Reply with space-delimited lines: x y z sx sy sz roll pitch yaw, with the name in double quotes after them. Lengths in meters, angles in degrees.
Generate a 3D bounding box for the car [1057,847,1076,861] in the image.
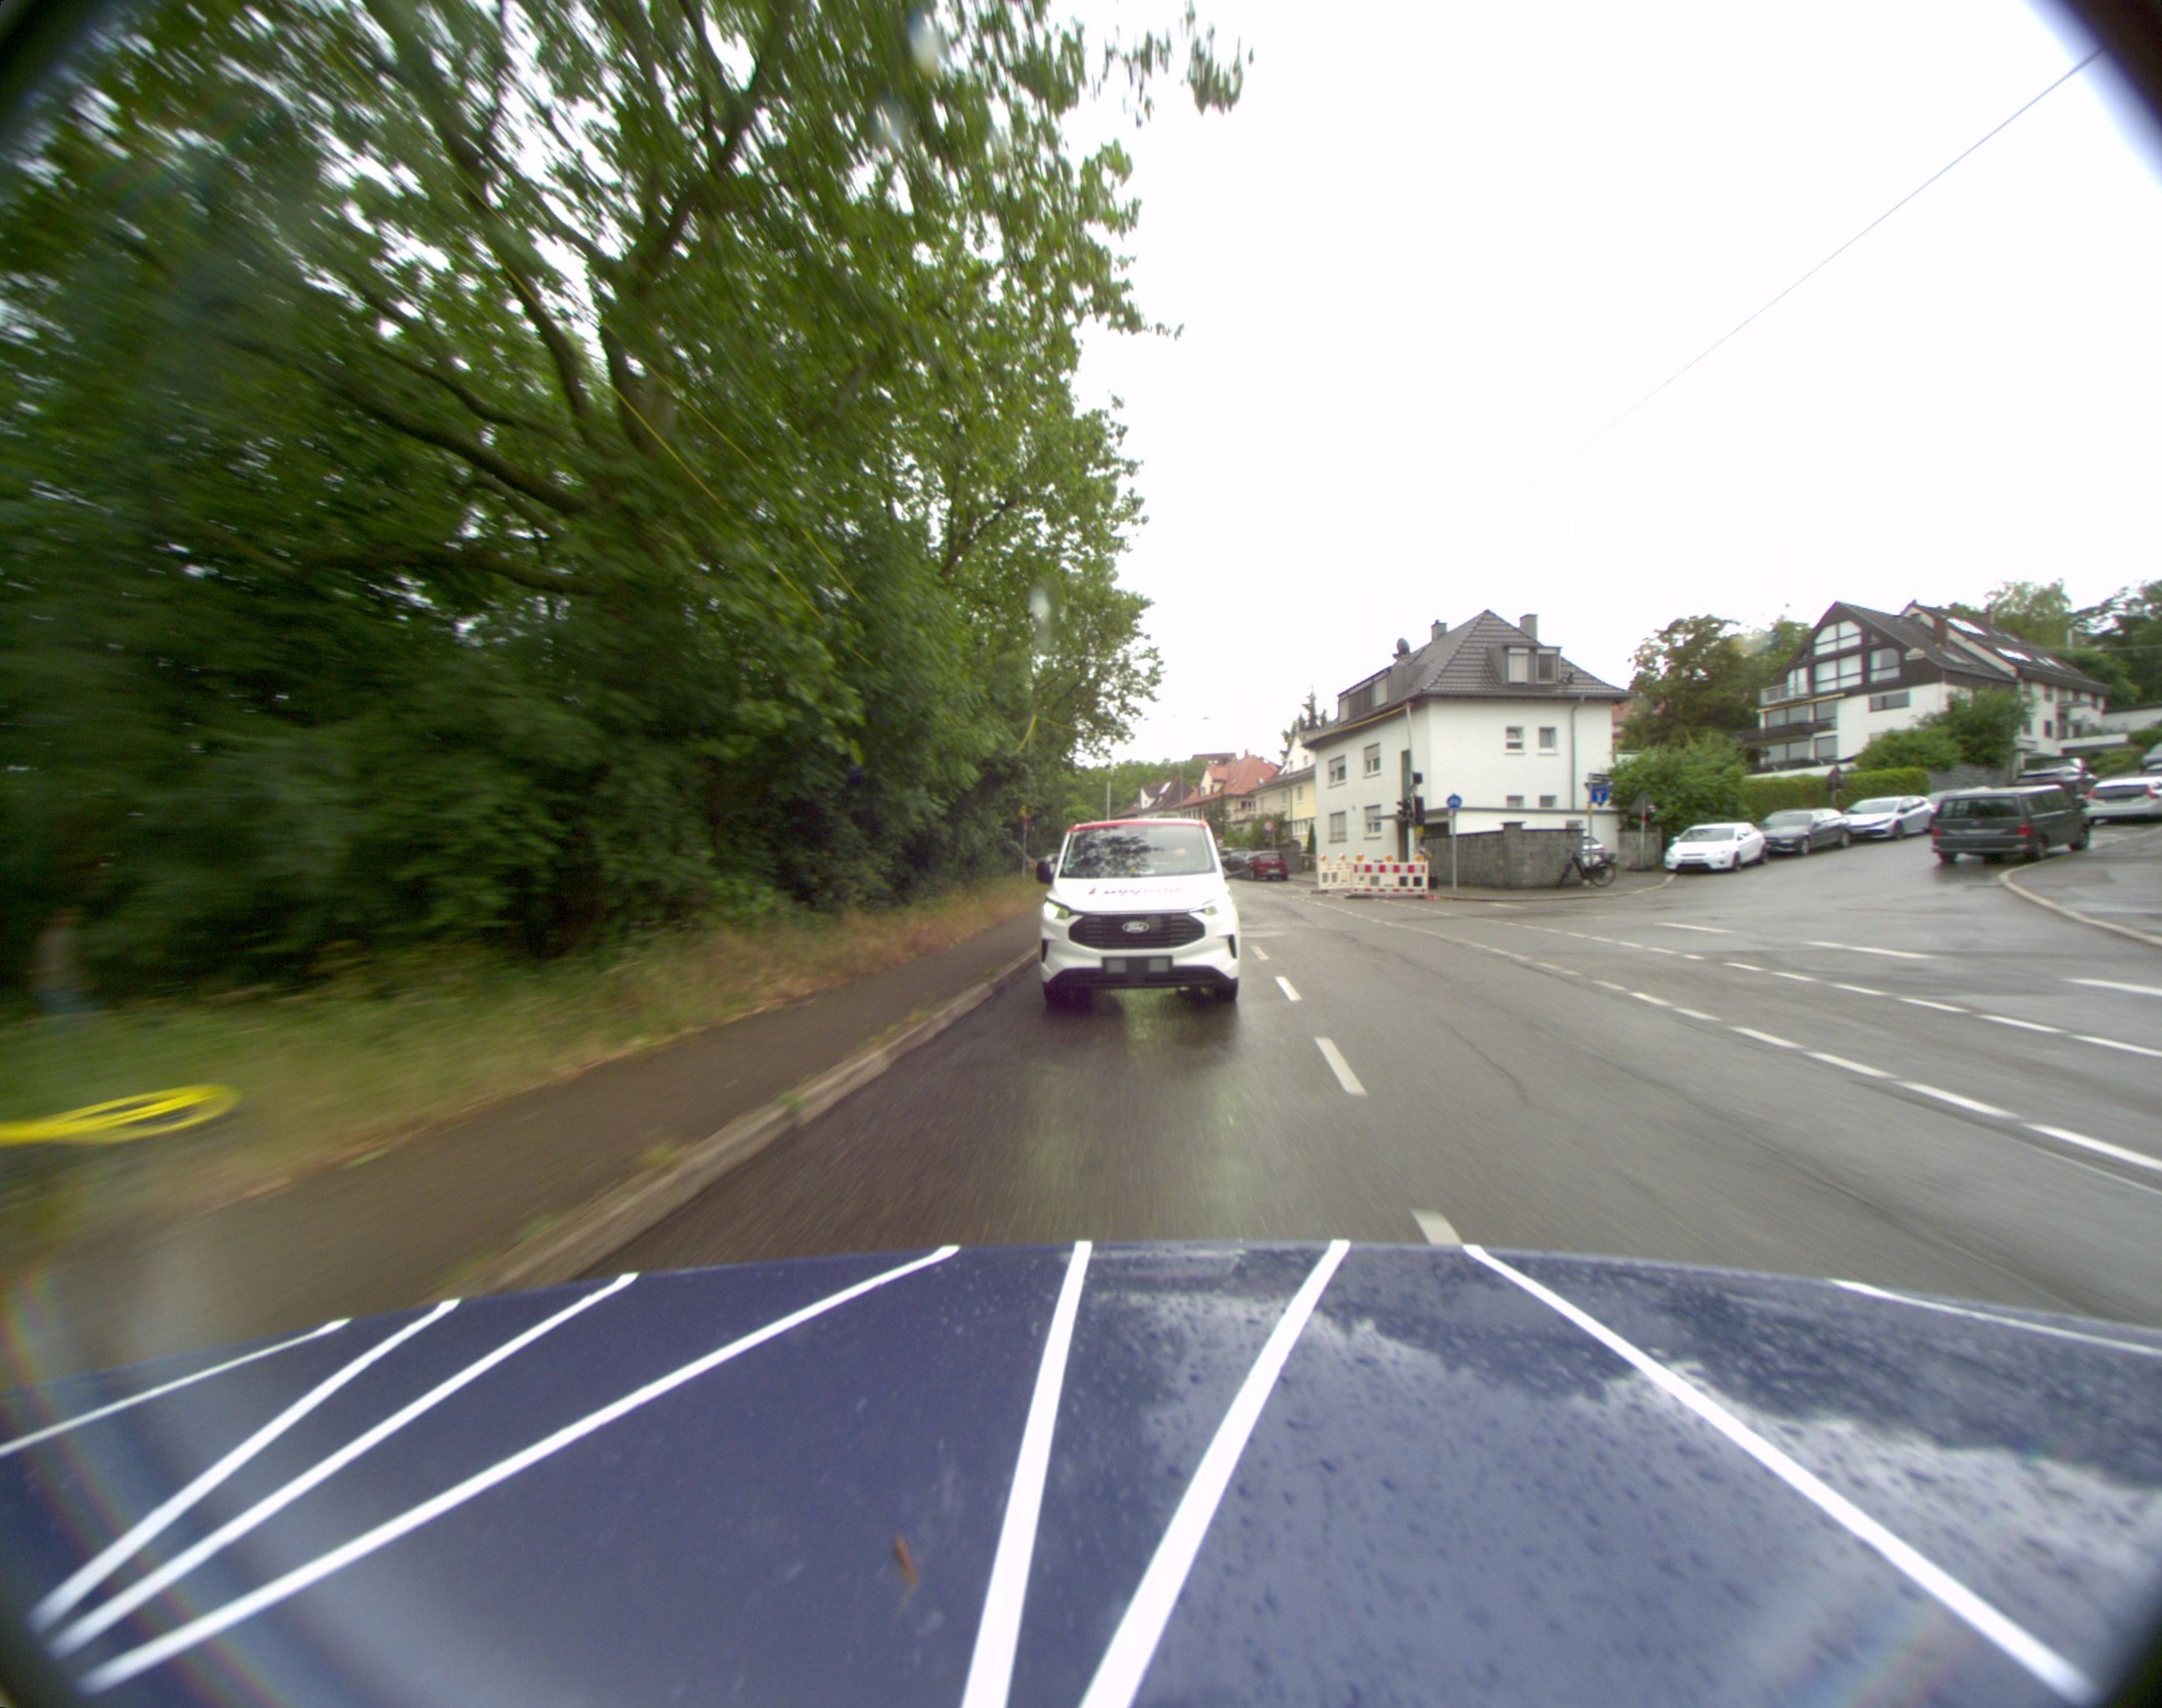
-2.058 -0.038 104.246 2.000 1.850 4.356 -3 1 -9 "car"

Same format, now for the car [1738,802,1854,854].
25.897 -0.939 27.515 3.858 1.458 1.701 -7 2 -25 "car"

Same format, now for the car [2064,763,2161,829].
36.246 -2.044 26.294 3.415 1.827 1.918 -9 3 -24 "car"

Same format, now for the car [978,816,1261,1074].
0.644 0.656 8.268 2.044 1.883 5.211 -2 1 8 "car"

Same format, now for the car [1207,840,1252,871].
8.364 0.113 43.160 1.669 1.579 4.006 -3 -1 0 "car"

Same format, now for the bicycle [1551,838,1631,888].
14.243 0.232 21.255 1.731 1.304 0.707 -3 1 1 "bicycle"

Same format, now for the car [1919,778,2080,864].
26.319 -0.934 21.774 3.799 1.926 1.911 -9 3 -24 "car"

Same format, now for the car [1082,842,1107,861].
1.462 -0.259 85.266 2.000 2.002 3.996 -3 1 -9 "car"

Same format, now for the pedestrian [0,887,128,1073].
-9.726 1.137 7.035 0.733 1.595 0.751 -3 1 -12 "pedestrian"

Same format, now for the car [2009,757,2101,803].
45.173 -3.423 35.244 3.987 1.547 1.334 -9 3 -19 "car"

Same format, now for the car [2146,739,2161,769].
60.578 -5.686 41.587 3.833 1.492 1.734 -9 3 -21 "car"

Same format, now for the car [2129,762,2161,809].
41.035 -2.665 28.284 3.563 1.461 1.580 -9 3 -23 "car"

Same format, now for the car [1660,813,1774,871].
20.652 -0.397 24.653 3.565 1.458 1.746 -7 2 -32 "car"

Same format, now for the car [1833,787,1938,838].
30.854 -1.582 29.125 3.857 1.458 1.579 -8 3 -25 "car"

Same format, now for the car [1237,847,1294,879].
9.154 0.459 38.003 1.897 1.485 3.798 -1 -1 0 "car"
